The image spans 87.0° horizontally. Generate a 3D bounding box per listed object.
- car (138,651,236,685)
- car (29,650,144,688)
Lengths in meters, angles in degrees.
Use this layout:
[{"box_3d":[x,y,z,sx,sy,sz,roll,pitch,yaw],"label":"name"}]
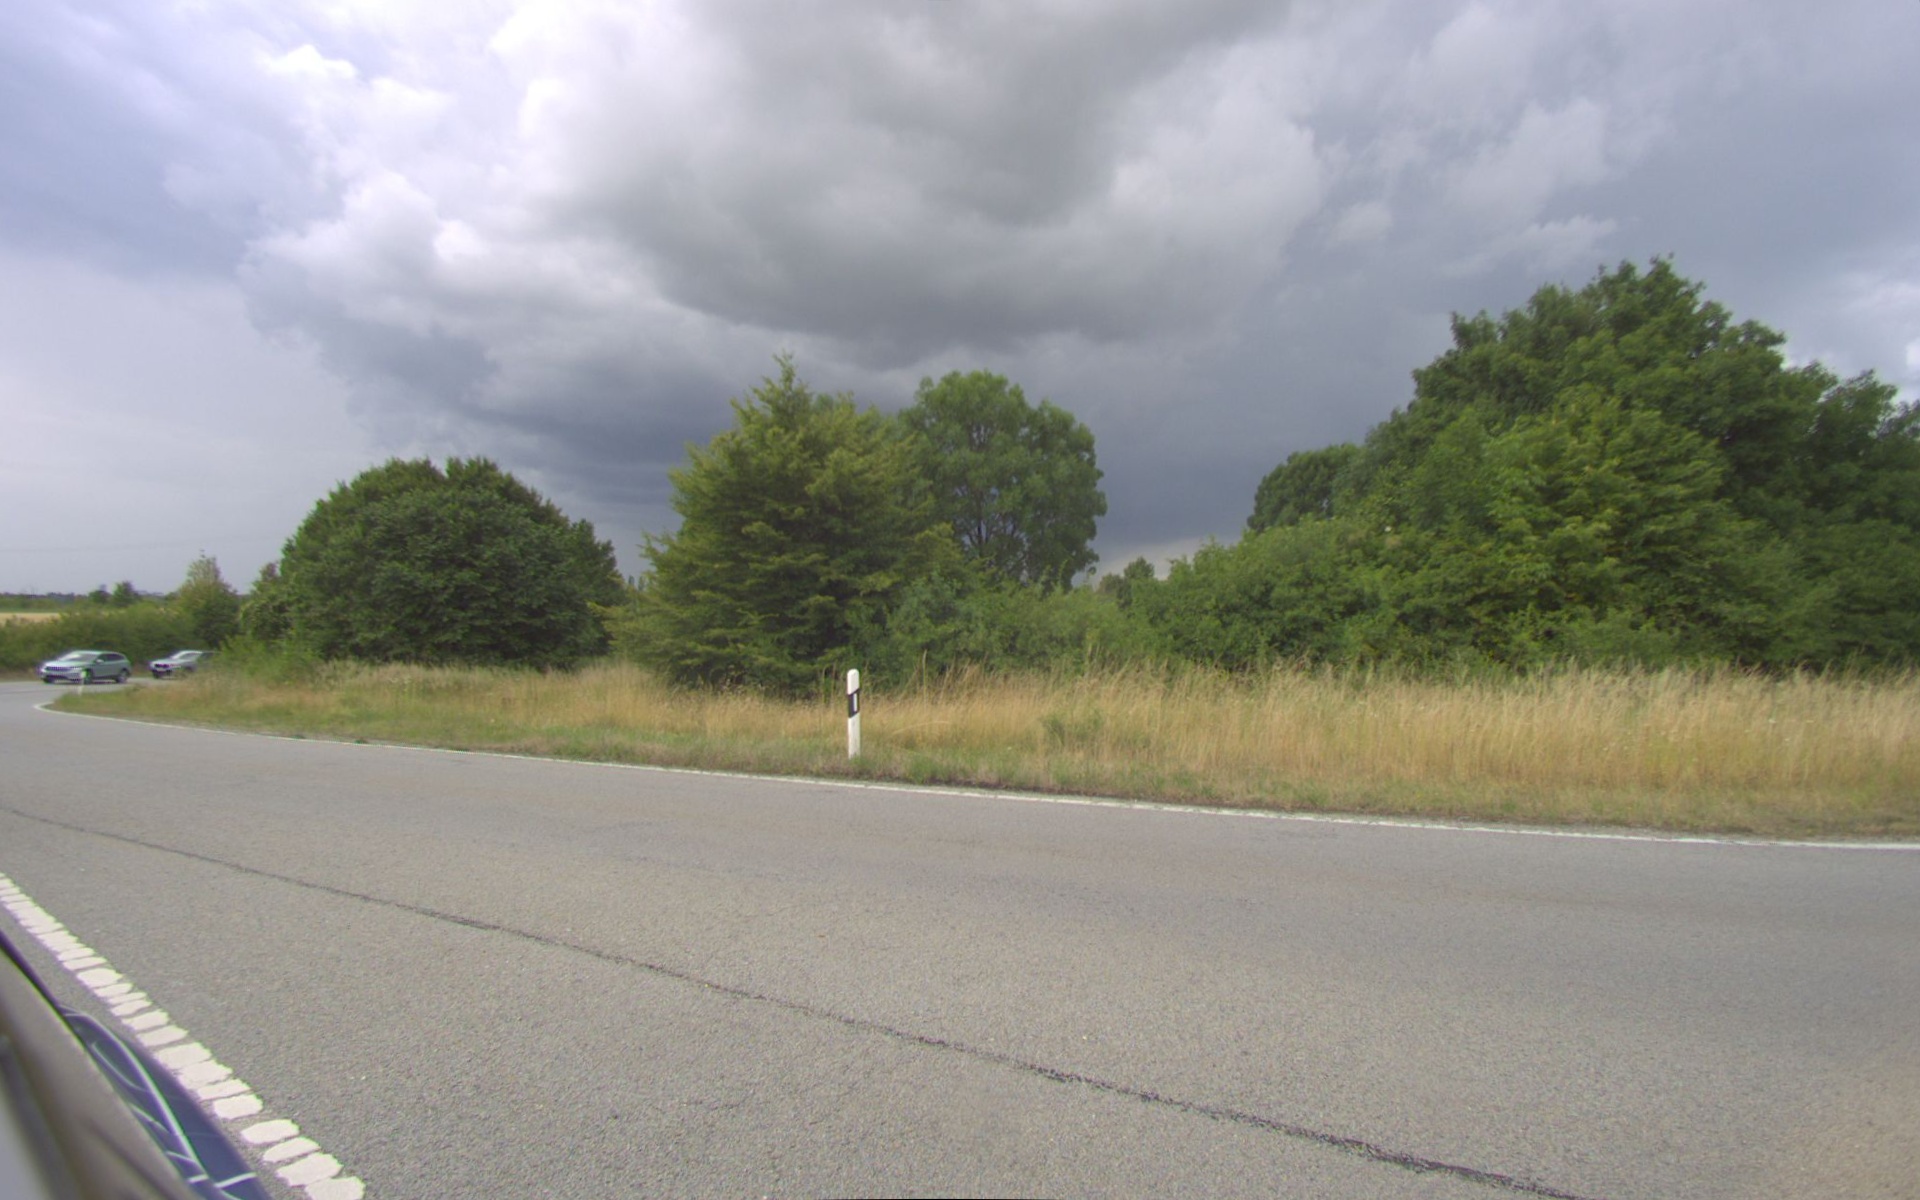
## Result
[{"box_3d":[-45.325,3.946,59.507,1.970,1.732,5.212,2,-2,-3],"label":"car"},{"box_3d":[-44.149,3.499,51.315,1.967,1.733,5.219,2,-4,-11],"label":"car"}]
